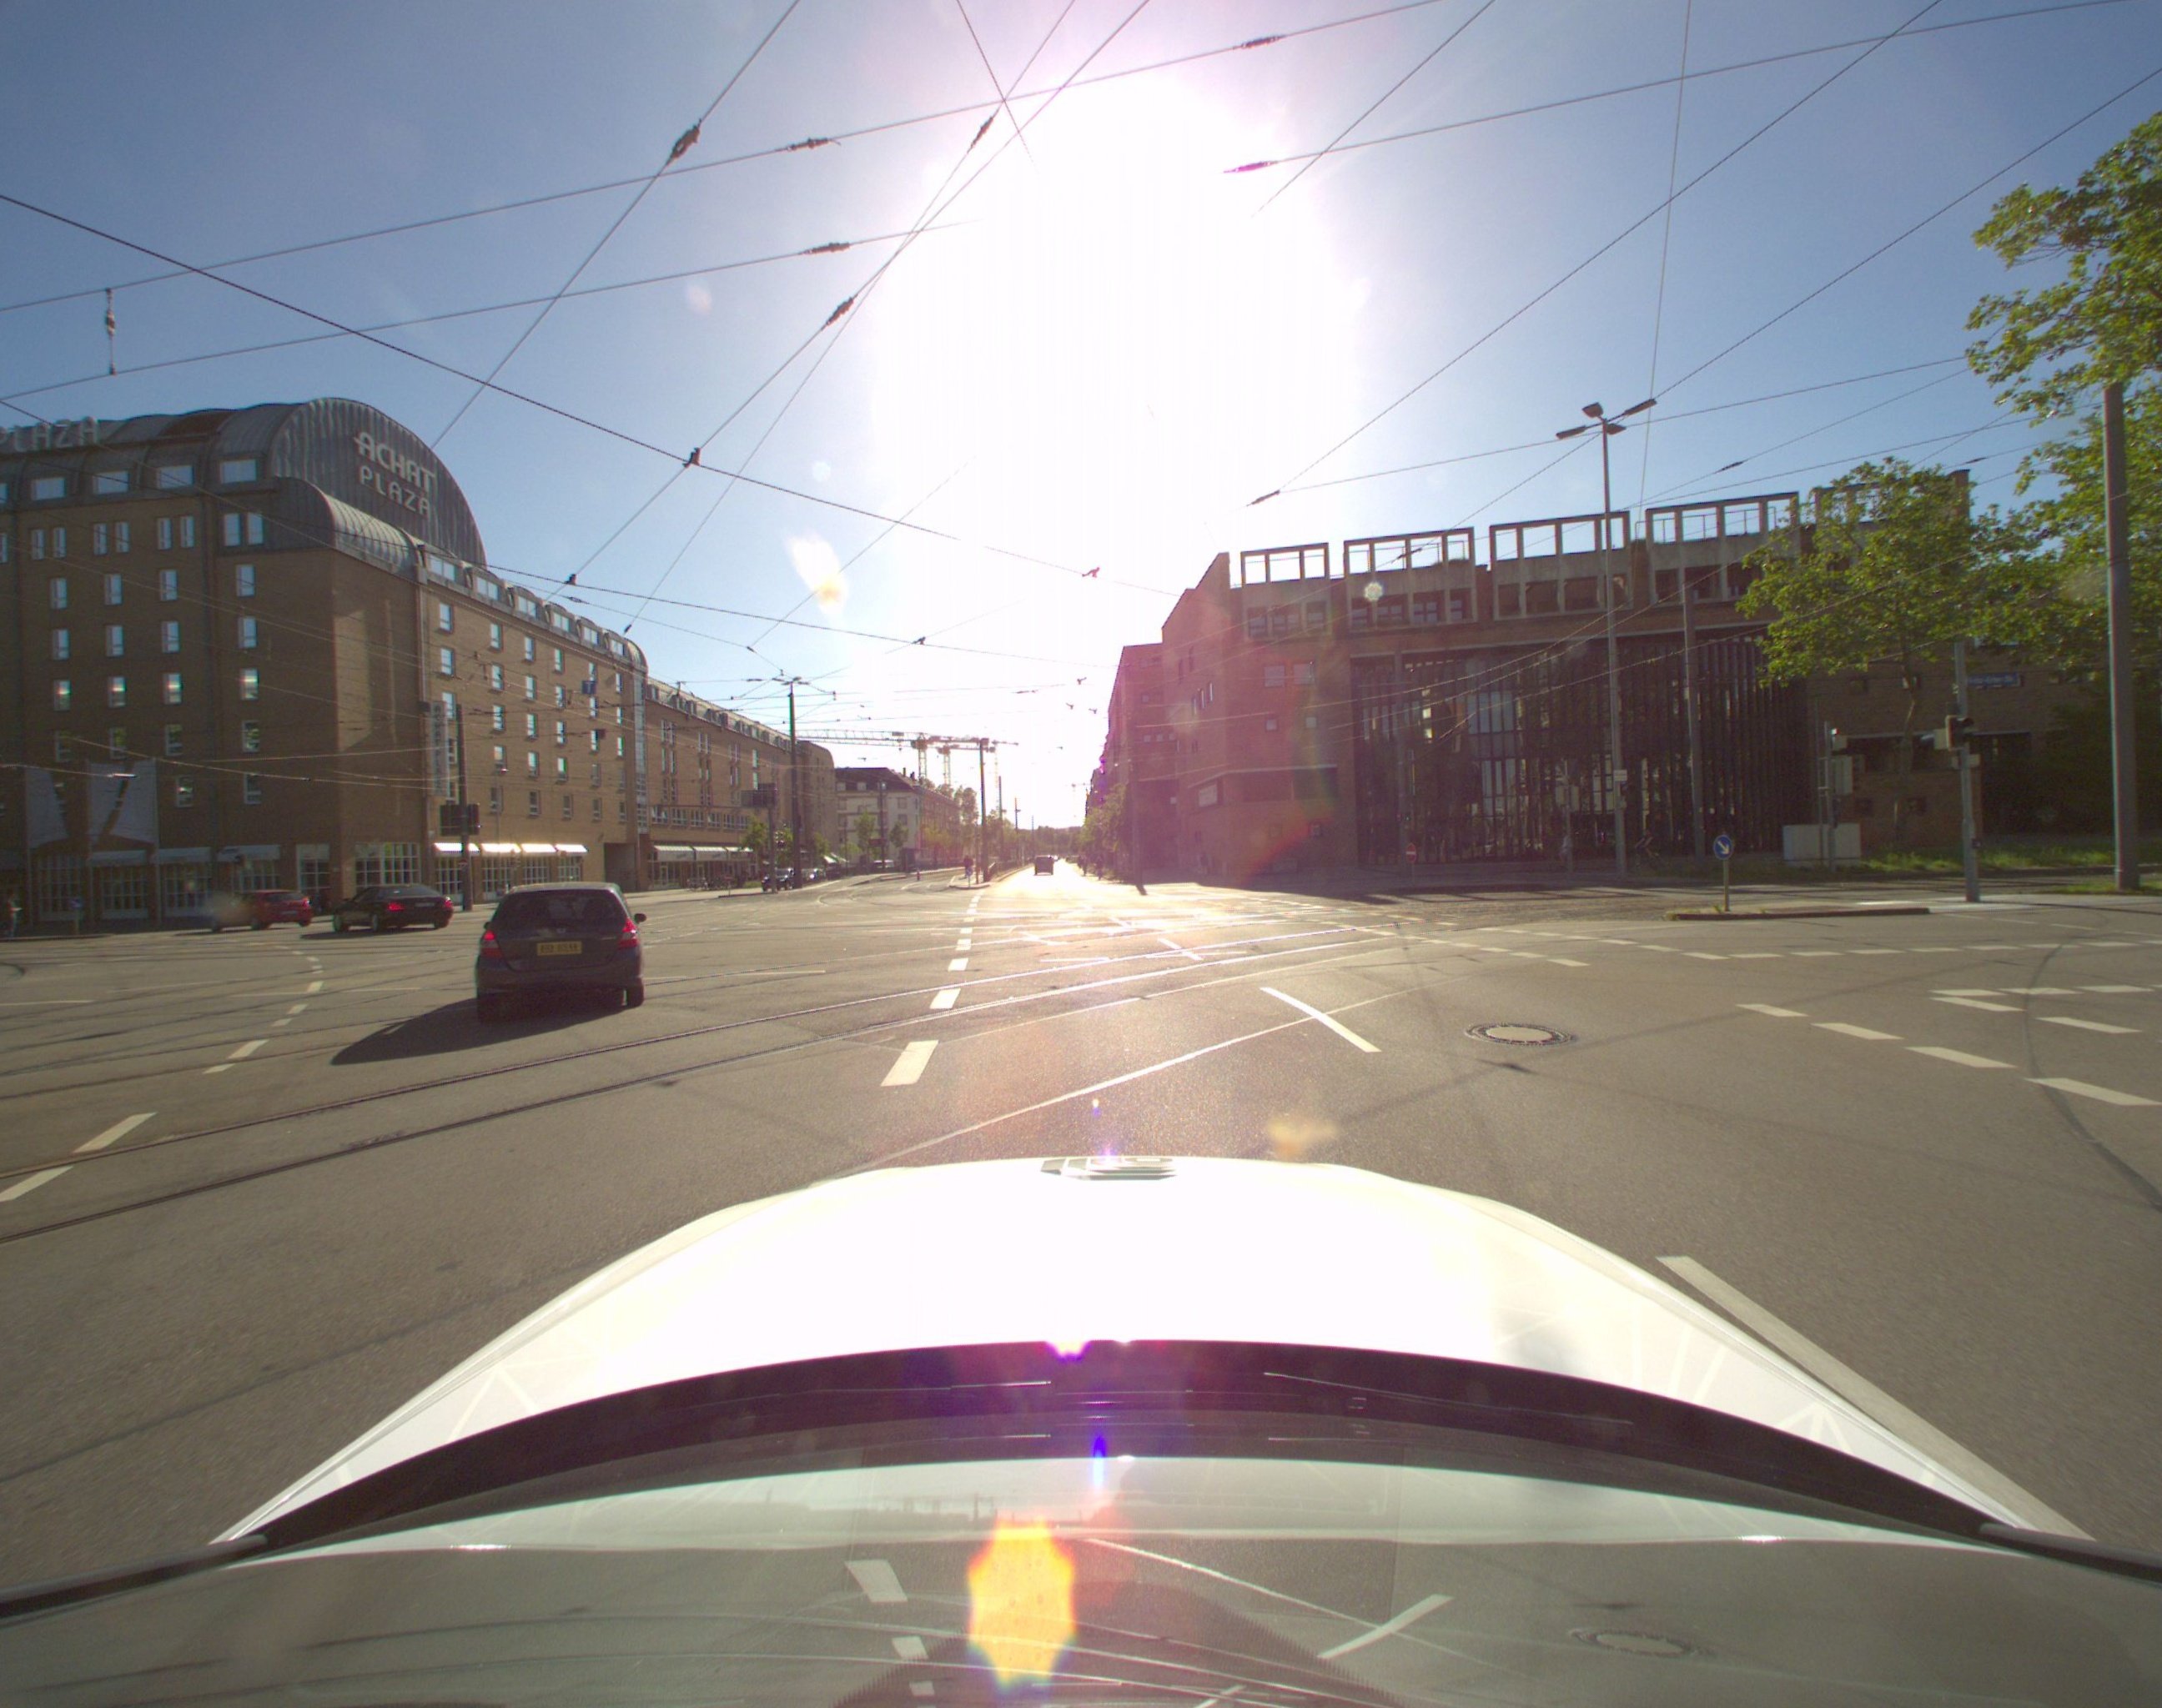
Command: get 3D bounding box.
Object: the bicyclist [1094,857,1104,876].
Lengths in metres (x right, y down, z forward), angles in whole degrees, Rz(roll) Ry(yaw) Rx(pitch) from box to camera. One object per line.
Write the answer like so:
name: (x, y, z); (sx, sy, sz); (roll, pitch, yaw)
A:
bicyclist: (1.305, 0.892, 59.746); (0.591, 1.335, 0.932); (-2, 0, -4)

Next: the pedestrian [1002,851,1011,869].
pedestrian: (-7.355, 0.618, 80.377); (0.719, 1.735, 0.598); (-2, 0, -21)

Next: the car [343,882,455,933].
car: (-22.421, 1.709, 26.727); (4.462, 1.449, 1.743); (-2, 0, 36)

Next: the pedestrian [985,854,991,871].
pedestrian: (-9.251, 0.886, 80.907); (0.537, 1.655, 0.632); (-2, 0, -4)

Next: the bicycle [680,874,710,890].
bicycle: (-35.322, 2.574, 74.523); (2.470, 1.310, 0.735); (-2, 0, 8)

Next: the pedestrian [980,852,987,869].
pedestrian: (-8.708, 0.592, 72.903); (0.518, 1.551, 0.599); (-2, 0, -6)

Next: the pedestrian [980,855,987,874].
pedestrian: (-9.096, 0.948, 76.036); (0.537, 1.773, 0.632); (-2, 0, -4)

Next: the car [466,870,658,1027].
car: (-6.599, 1.033, 10.585); (1.737, 1.564, 3.642); (-2, 0, -30)

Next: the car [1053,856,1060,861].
car: (-7.063, 1.352, 231.815); (1.988, 1.420, 3.997); (-2, 0, -2)

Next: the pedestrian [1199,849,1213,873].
pedestrian: (8.155, 0.444, 53.164); (0.616, 1.563, 0.985); (-2, 0, -4)

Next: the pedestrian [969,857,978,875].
pedestrian: (-9.514, 1.069, 72.140); (0.599, 1.566, 0.913); (-2, 0, -4)

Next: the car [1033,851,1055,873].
car: (-3.548, 0.772, 77.226); (1.990, 1.947, 3.994); (-2, 0, -4)

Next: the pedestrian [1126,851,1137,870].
pedestrian: (4.646, 0.605, 74.872); (0.878, 1.717, 0.930); (-2, 0, -4)

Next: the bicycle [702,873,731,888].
bicycle: (-34.552, 2.539, 77.257); (2.470, 1.310, 0.735); (-2, 0, 8)

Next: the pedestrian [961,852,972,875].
pedestrian: (-8.772, 0.739, 62.249); (0.613, 1.669, 0.863); (-5, 1, -5)

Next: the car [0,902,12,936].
car: (-47.228, 2.806, 33.442); (4.374, 1.381, 2.071); (-2, 0, 7)

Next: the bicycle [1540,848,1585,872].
bicycle: (21.576, 0.270, 36.494); (1.668, 0.994, 0.671); (-2, 0, -10)

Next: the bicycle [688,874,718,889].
bicycle: (-35.305, 2.569, 76.021); (2.470, 1.310, 0.735); (-2, 0, 8)

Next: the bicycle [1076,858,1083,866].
bicycle: (-0.161, 0.982, 103.212); (0.666, 0.985, 2.582); (-2, 0, -4)

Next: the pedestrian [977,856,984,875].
pedestrian: (-8.893, 0.995, 71.773); (0.509, 1.655, 0.760); (-2, 0, -4)

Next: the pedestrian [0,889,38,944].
pedestrian: (-38.948, 2.288, 29.791); (0.521, 1.932, 0.751); (-2, 0, -2)

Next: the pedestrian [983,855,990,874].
pedestrian: (-8.365, 0.965, 72.034); (0.537, 1.655, 0.895); (-2, 0, -4)

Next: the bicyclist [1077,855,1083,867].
bicyclist: (-0.173, 0.922, 103.214); (0.666, 1.527, 0.706); (-2, 0, -4)

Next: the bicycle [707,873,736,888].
bicycle: (-34.525, 2.536, 78.136); (2.470, 1.310, 0.735); (-2, 0, 8)

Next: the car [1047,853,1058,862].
car: (-5.951, 0.709, 169.311); (1.990, 1.728, 3.994); (-2, 0, -4)

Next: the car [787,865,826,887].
car: (-22.054, 1.755, 65.591); (1.605, 1.398, 4.225); (-6, 1, -2)

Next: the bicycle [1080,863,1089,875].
bicycle: (0.294, 1.307, 72.680); (0.666, 0.985, 2.582); (-2, 0, -4)

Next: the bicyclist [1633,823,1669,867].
bicyclist: (21.775, -0.358, 31.113); (0.860, 1.630, 0.672); (-2, 0, -1)

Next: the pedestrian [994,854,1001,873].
pedestrian: (-7.407, 0.859, 72.248); (0.537, 1.655, 0.705); (-2, 0, -4)

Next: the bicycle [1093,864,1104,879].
bicycle: (1.304, 1.277, 60.011); (0.602, 0.985, 2.311); (-2, 0, -4)

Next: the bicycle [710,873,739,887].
bicycle: (-34.636, 2.534, 79.130); (2.470, 1.310, 0.735); (-2, 0, 8)

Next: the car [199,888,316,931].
car: (-31.457, 2.121, 31.127); (3.545, 1.449, 1.666); (-2, 0, 18)

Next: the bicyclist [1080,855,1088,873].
bicyclist: (0.268, 0.878, 72.790); (0.666, 1.527, 0.706); (-2, 0, -4)

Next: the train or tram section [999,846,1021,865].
train or tram section: (-12.178, 0.242, 140.396); (2.318, 3.003, 13.163); (-1, 0, 1)

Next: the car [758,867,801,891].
car: (-21.741, 1.753, 58.882); (1.605, 1.398, 3.917); (-6, 1, -2)

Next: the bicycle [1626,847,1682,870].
bicycle: (21.891, 0.173, 31.120); (1.663, 0.806, 0.673); (-2, 0, -1)
